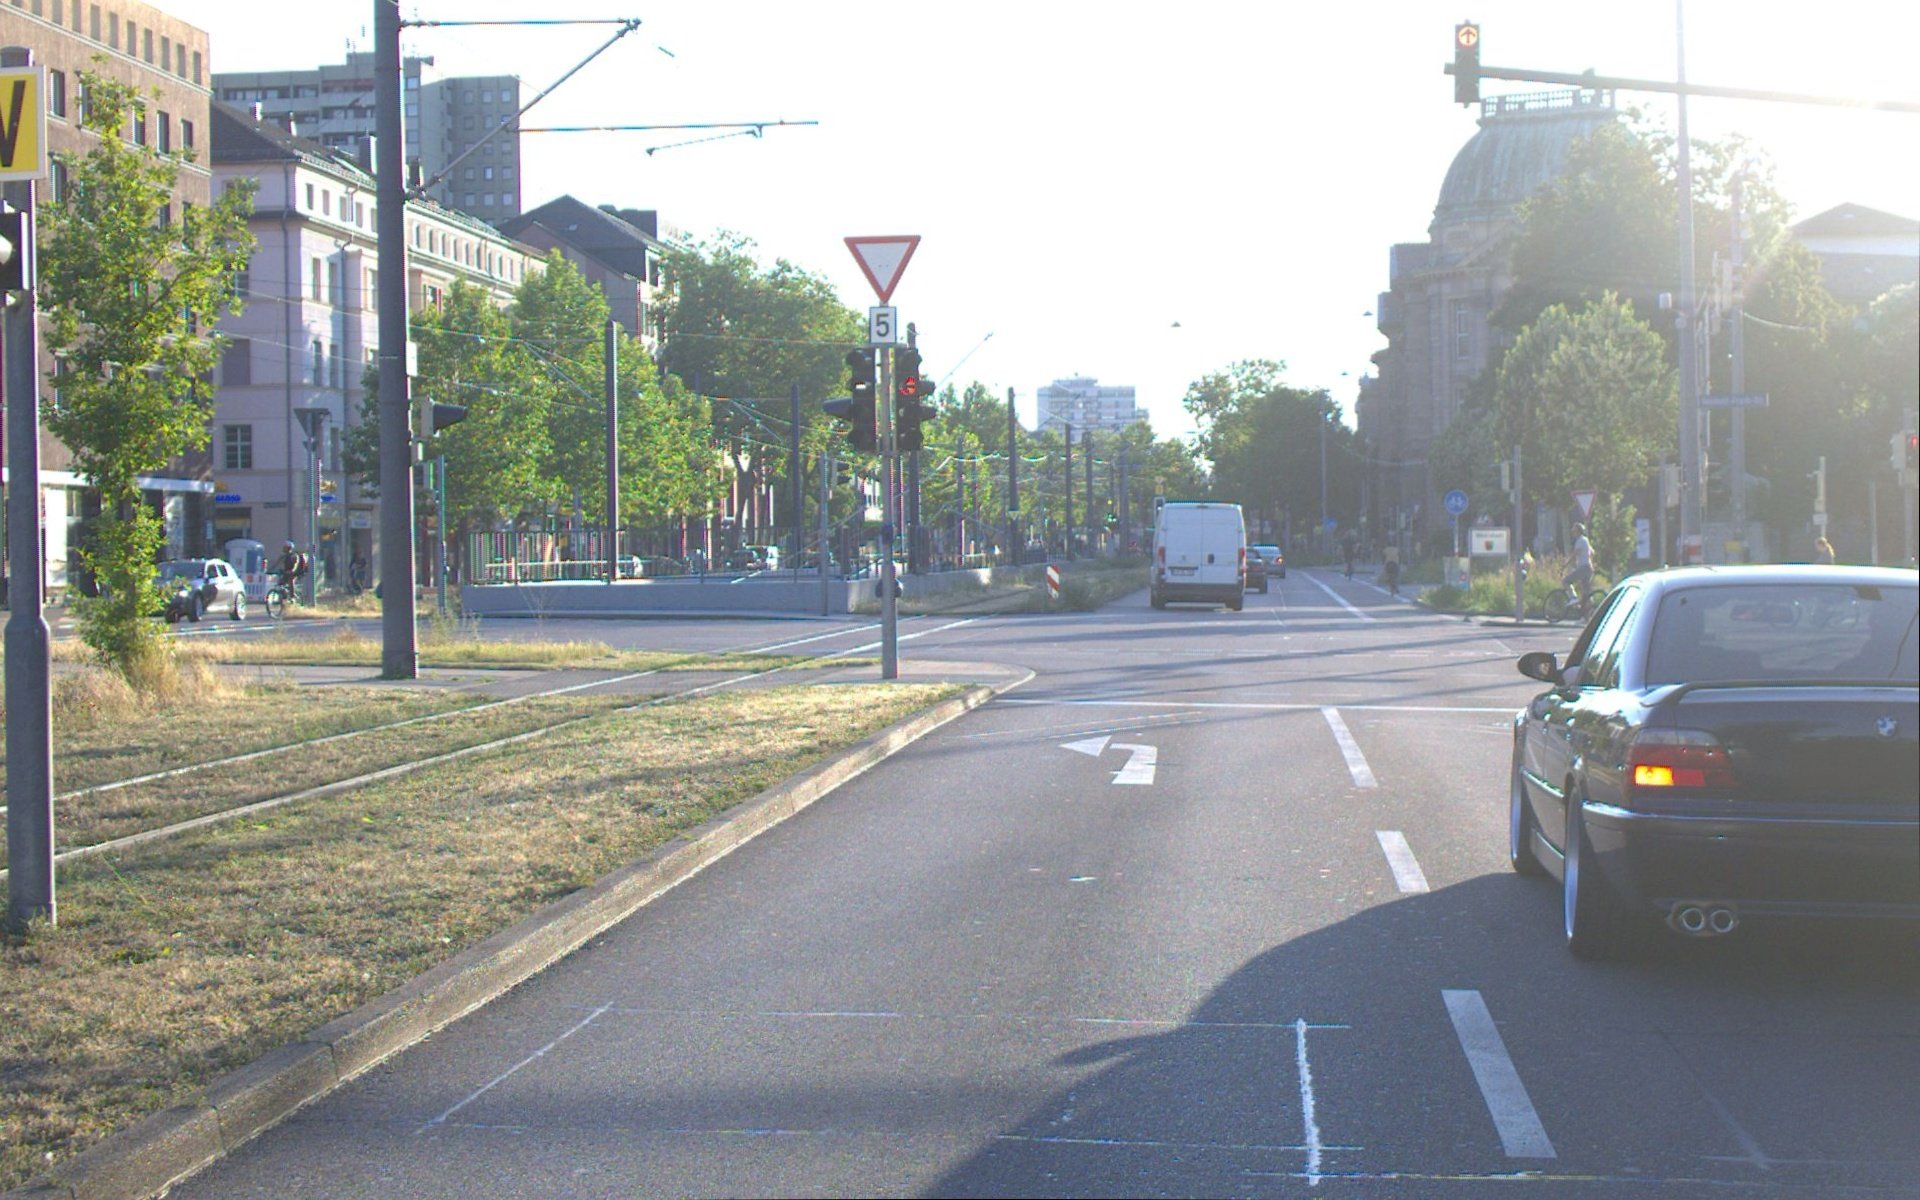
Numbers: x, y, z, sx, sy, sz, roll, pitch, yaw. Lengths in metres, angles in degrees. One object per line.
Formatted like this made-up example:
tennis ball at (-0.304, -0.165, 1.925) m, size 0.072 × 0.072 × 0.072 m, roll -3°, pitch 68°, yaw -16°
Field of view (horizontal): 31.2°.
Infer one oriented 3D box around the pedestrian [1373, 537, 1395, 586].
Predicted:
pedestrian at (12.985, -1.169, 105.218) m, size 0.616 × 1.470 × 0.800 m, roll -1°, pitch 2°, yaw 10°

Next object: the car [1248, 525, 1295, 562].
car at (13.972, -2.557, 154.320) m, size 1.794 × 1.560 × 4.000 m, roll -1°, pitch 2°, yaw 1°

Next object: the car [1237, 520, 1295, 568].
car at (9.645, -1.785, 108.141) m, size 1.737 × 1.381 × 4.000 m, roll -1°, pitch 2°, yaw 6°

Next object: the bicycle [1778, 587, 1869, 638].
bicycle at (17.114, 0.245, 68.131) m, size 1.719 × 0.966 × 0.609 m, roll 1°, pitch 2°, yaw 17°

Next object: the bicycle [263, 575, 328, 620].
bicycle at (-15.368, -0.059, 79.518) m, size 0.702 × 0.966 × 1.733 m, roll 3°, pitch 3°, yaw 18°

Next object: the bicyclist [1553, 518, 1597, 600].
bicyclist at (12.006, -0.807, 67.105) m, size 0.798 × 1.566 × 0.663 m, roll -1°, pitch 2°, yaw 8°

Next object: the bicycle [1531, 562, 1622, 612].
bicycle at (12.036, -0.257, 67.120) m, size 1.729 × 0.966 × 0.609 m, roll 0°, pitch 2°, yaw 8°

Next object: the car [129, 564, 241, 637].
car at (-17.375, -0.007, 77.184) m, size 1.712 × 1.429 × 4.001 m, roll 1°, pitch 2°, yaw -2°

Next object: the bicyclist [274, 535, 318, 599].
bicyclist at (-15.347, -0.769, 79.483) m, size 0.661 × 1.437 × 0.855 m, roll 2°, pitch 2°, yaw 18°

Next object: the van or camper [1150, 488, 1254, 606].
van or camper at (5.710, -1.283, 80.624) m, size 2.263 × 2.616 × 4.502 m, roll -1°, pitch 2°, yaw 6°

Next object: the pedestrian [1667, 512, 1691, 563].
pedestrian at (22.951, -2.000, 109.791) m, size 0.682 × 1.605 × 0.612 m, roll -1°, pitch 2°, yaw 6°

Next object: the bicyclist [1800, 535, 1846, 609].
bicyclist at (17.094, -0.550, 68.099) m, size 0.854 × 1.437 × 0.663 m, roll 0°, pitch 2°, yaw 16°

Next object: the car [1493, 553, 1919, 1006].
car at (3.134, 0.539, 13.196) m, size 1.830 × 1.349 × 4.641 m, roll 0°, pitch 2°, yaw 5°
